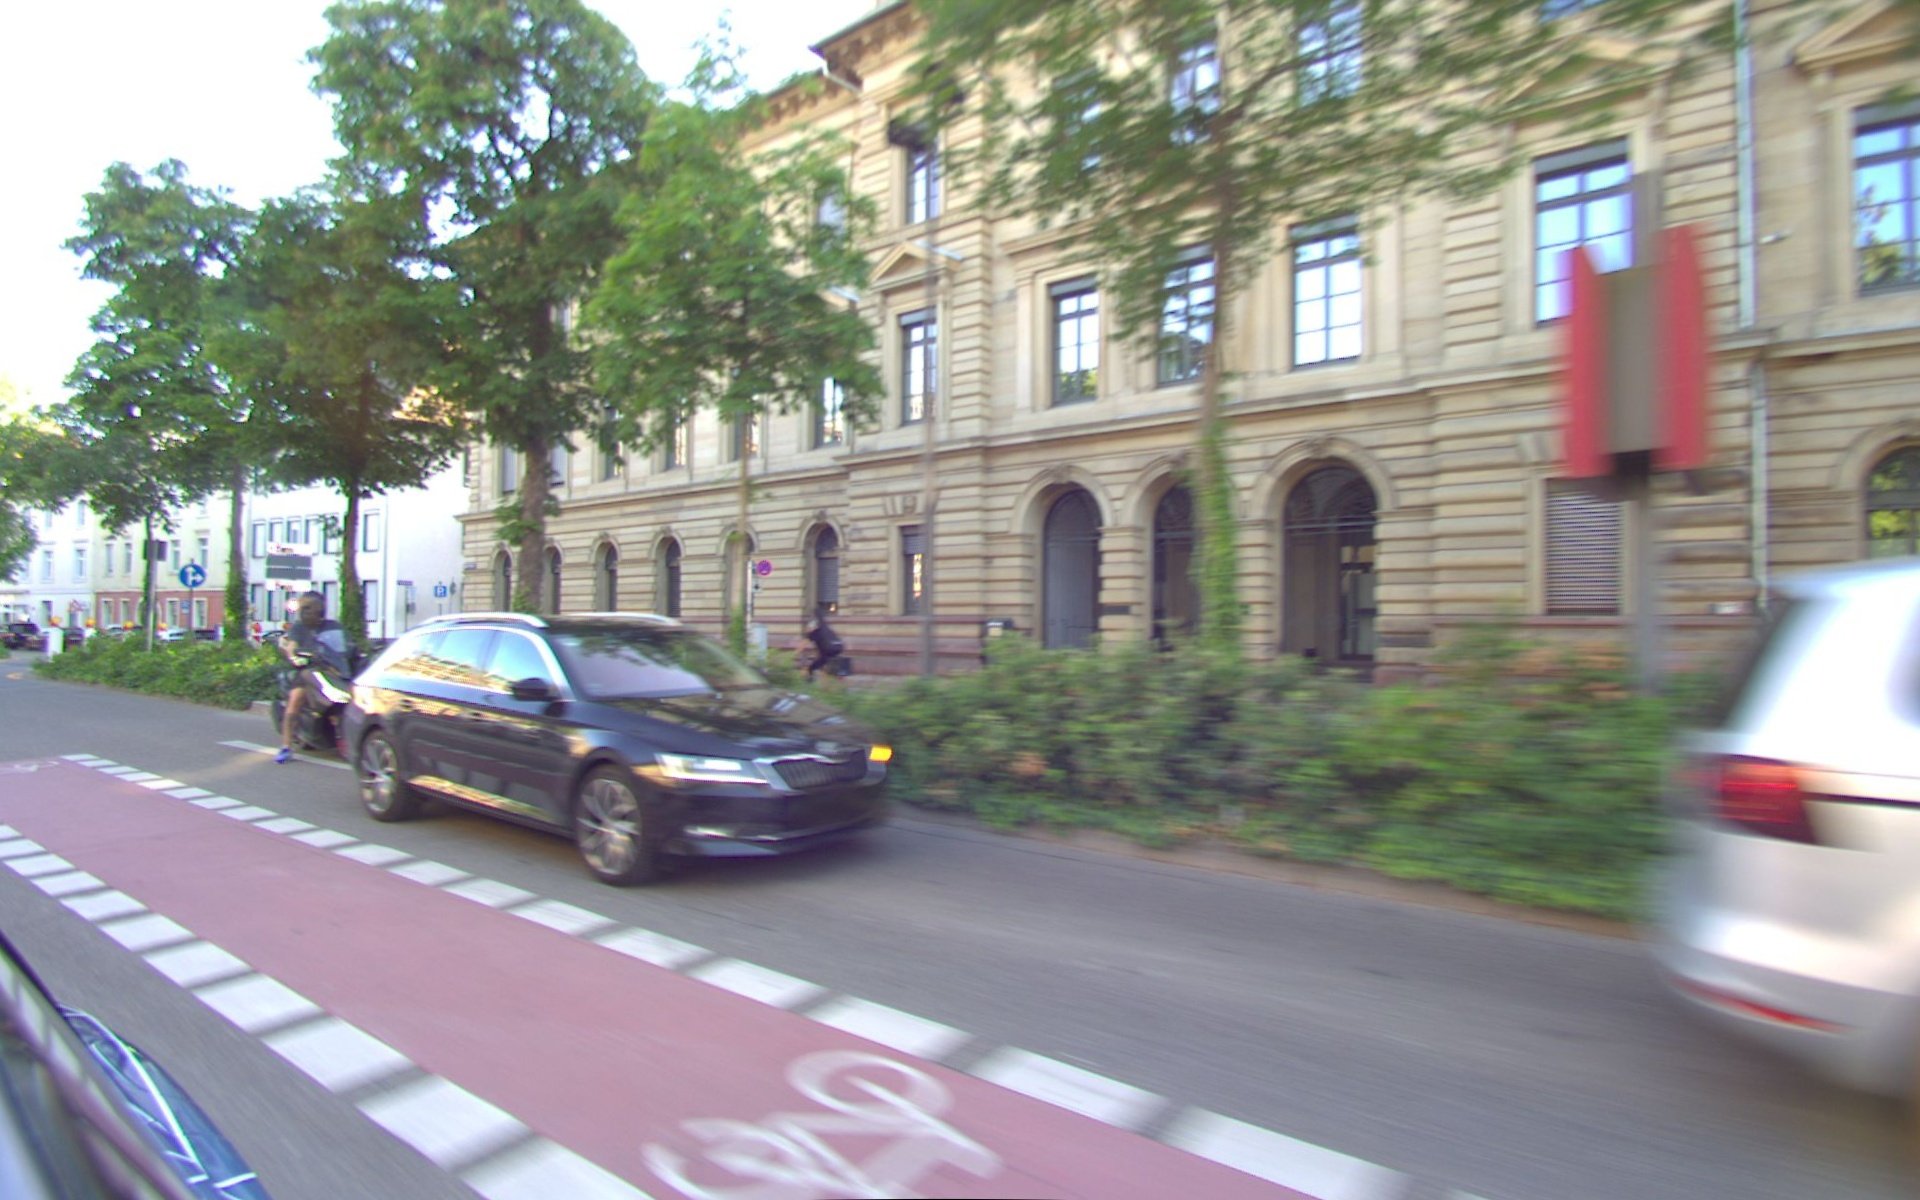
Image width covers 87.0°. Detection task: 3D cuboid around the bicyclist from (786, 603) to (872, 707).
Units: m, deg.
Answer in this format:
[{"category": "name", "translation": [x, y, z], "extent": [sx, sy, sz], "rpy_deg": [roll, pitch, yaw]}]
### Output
[{"category": "bicyclist", "translation": [-2.434, 1.024, 18.818], "extent": [1.284, 1.848, 0.872], "rpy_deg": [-1, -5, 39]}]

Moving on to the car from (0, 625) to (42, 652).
[{"category": "car", "translation": [-57.738, 2.295, 61.190], "extent": [4.366, 1.583, 1.803], "rpy_deg": [0, -2, 26]}]

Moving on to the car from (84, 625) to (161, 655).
[{"category": "car", "translation": [-45.301, 2.136, 54.707], "extent": [4.136, 1.583, 1.789], "rpy_deg": [-1, -2, 29]}]

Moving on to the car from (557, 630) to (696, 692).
[{"category": "car", "translation": [-8.834, 1.555, 26.694], "extent": [3.841, 1.519, 1.651], "rpy_deg": [-1, -3, 38]}]

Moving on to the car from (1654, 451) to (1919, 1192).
[{"category": "car", "translation": [4.362, 0.529, 2.131], "extent": [4.737, 1.763, 1.973], "rpy_deg": [-1, -3, 36]}]

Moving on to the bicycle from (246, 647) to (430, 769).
[{"category": "bicycle", "translation": [-6.461, 1.047, 10.452], "extent": [2.451, 1.050, 0.862], "rpy_deg": [-1, -1, 39]}]

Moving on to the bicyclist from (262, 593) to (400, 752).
[{"category": "bicyclist", "translation": [-6.543, 0.706, 10.526], "extent": [1.230, 1.535, 0.859], "rpy_deg": [-1, 0, 39]}]

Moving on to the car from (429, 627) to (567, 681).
[{"category": "car", "translation": [-14.026, 1.616, 30.625], "extent": [4.638, 1.519, 1.860], "rpy_deg": [-1, -4, 39]}]

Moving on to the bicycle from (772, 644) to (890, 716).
[{"category": "bicycle", "translation": [-2.401, 1.466, 18.737], "extent": [2.173, 1.203, 0.872], "rpy_deg": [-1, -5, 39]}]

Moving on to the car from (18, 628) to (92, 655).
[{"category": "car", "translation": [-52.679, 2.378, 58.892], "extent": [4.170, 1.499, 1.757], "rpy_deg": [-1, -1, 25]}]

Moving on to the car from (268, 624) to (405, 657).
[{"category": "car", "translation": [-26.786, 1.735, 43.637], "extent": [1.766, 1.332, 4.709], "rpy_deg": [-1, -3, 42]}]

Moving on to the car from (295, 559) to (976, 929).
[{"category": "car", "translation": [-2.378, 0.704, 6.805], "extent": [4.728, 1.670, 1.975], "rpy_deg": [-1, -2, 37]}]
